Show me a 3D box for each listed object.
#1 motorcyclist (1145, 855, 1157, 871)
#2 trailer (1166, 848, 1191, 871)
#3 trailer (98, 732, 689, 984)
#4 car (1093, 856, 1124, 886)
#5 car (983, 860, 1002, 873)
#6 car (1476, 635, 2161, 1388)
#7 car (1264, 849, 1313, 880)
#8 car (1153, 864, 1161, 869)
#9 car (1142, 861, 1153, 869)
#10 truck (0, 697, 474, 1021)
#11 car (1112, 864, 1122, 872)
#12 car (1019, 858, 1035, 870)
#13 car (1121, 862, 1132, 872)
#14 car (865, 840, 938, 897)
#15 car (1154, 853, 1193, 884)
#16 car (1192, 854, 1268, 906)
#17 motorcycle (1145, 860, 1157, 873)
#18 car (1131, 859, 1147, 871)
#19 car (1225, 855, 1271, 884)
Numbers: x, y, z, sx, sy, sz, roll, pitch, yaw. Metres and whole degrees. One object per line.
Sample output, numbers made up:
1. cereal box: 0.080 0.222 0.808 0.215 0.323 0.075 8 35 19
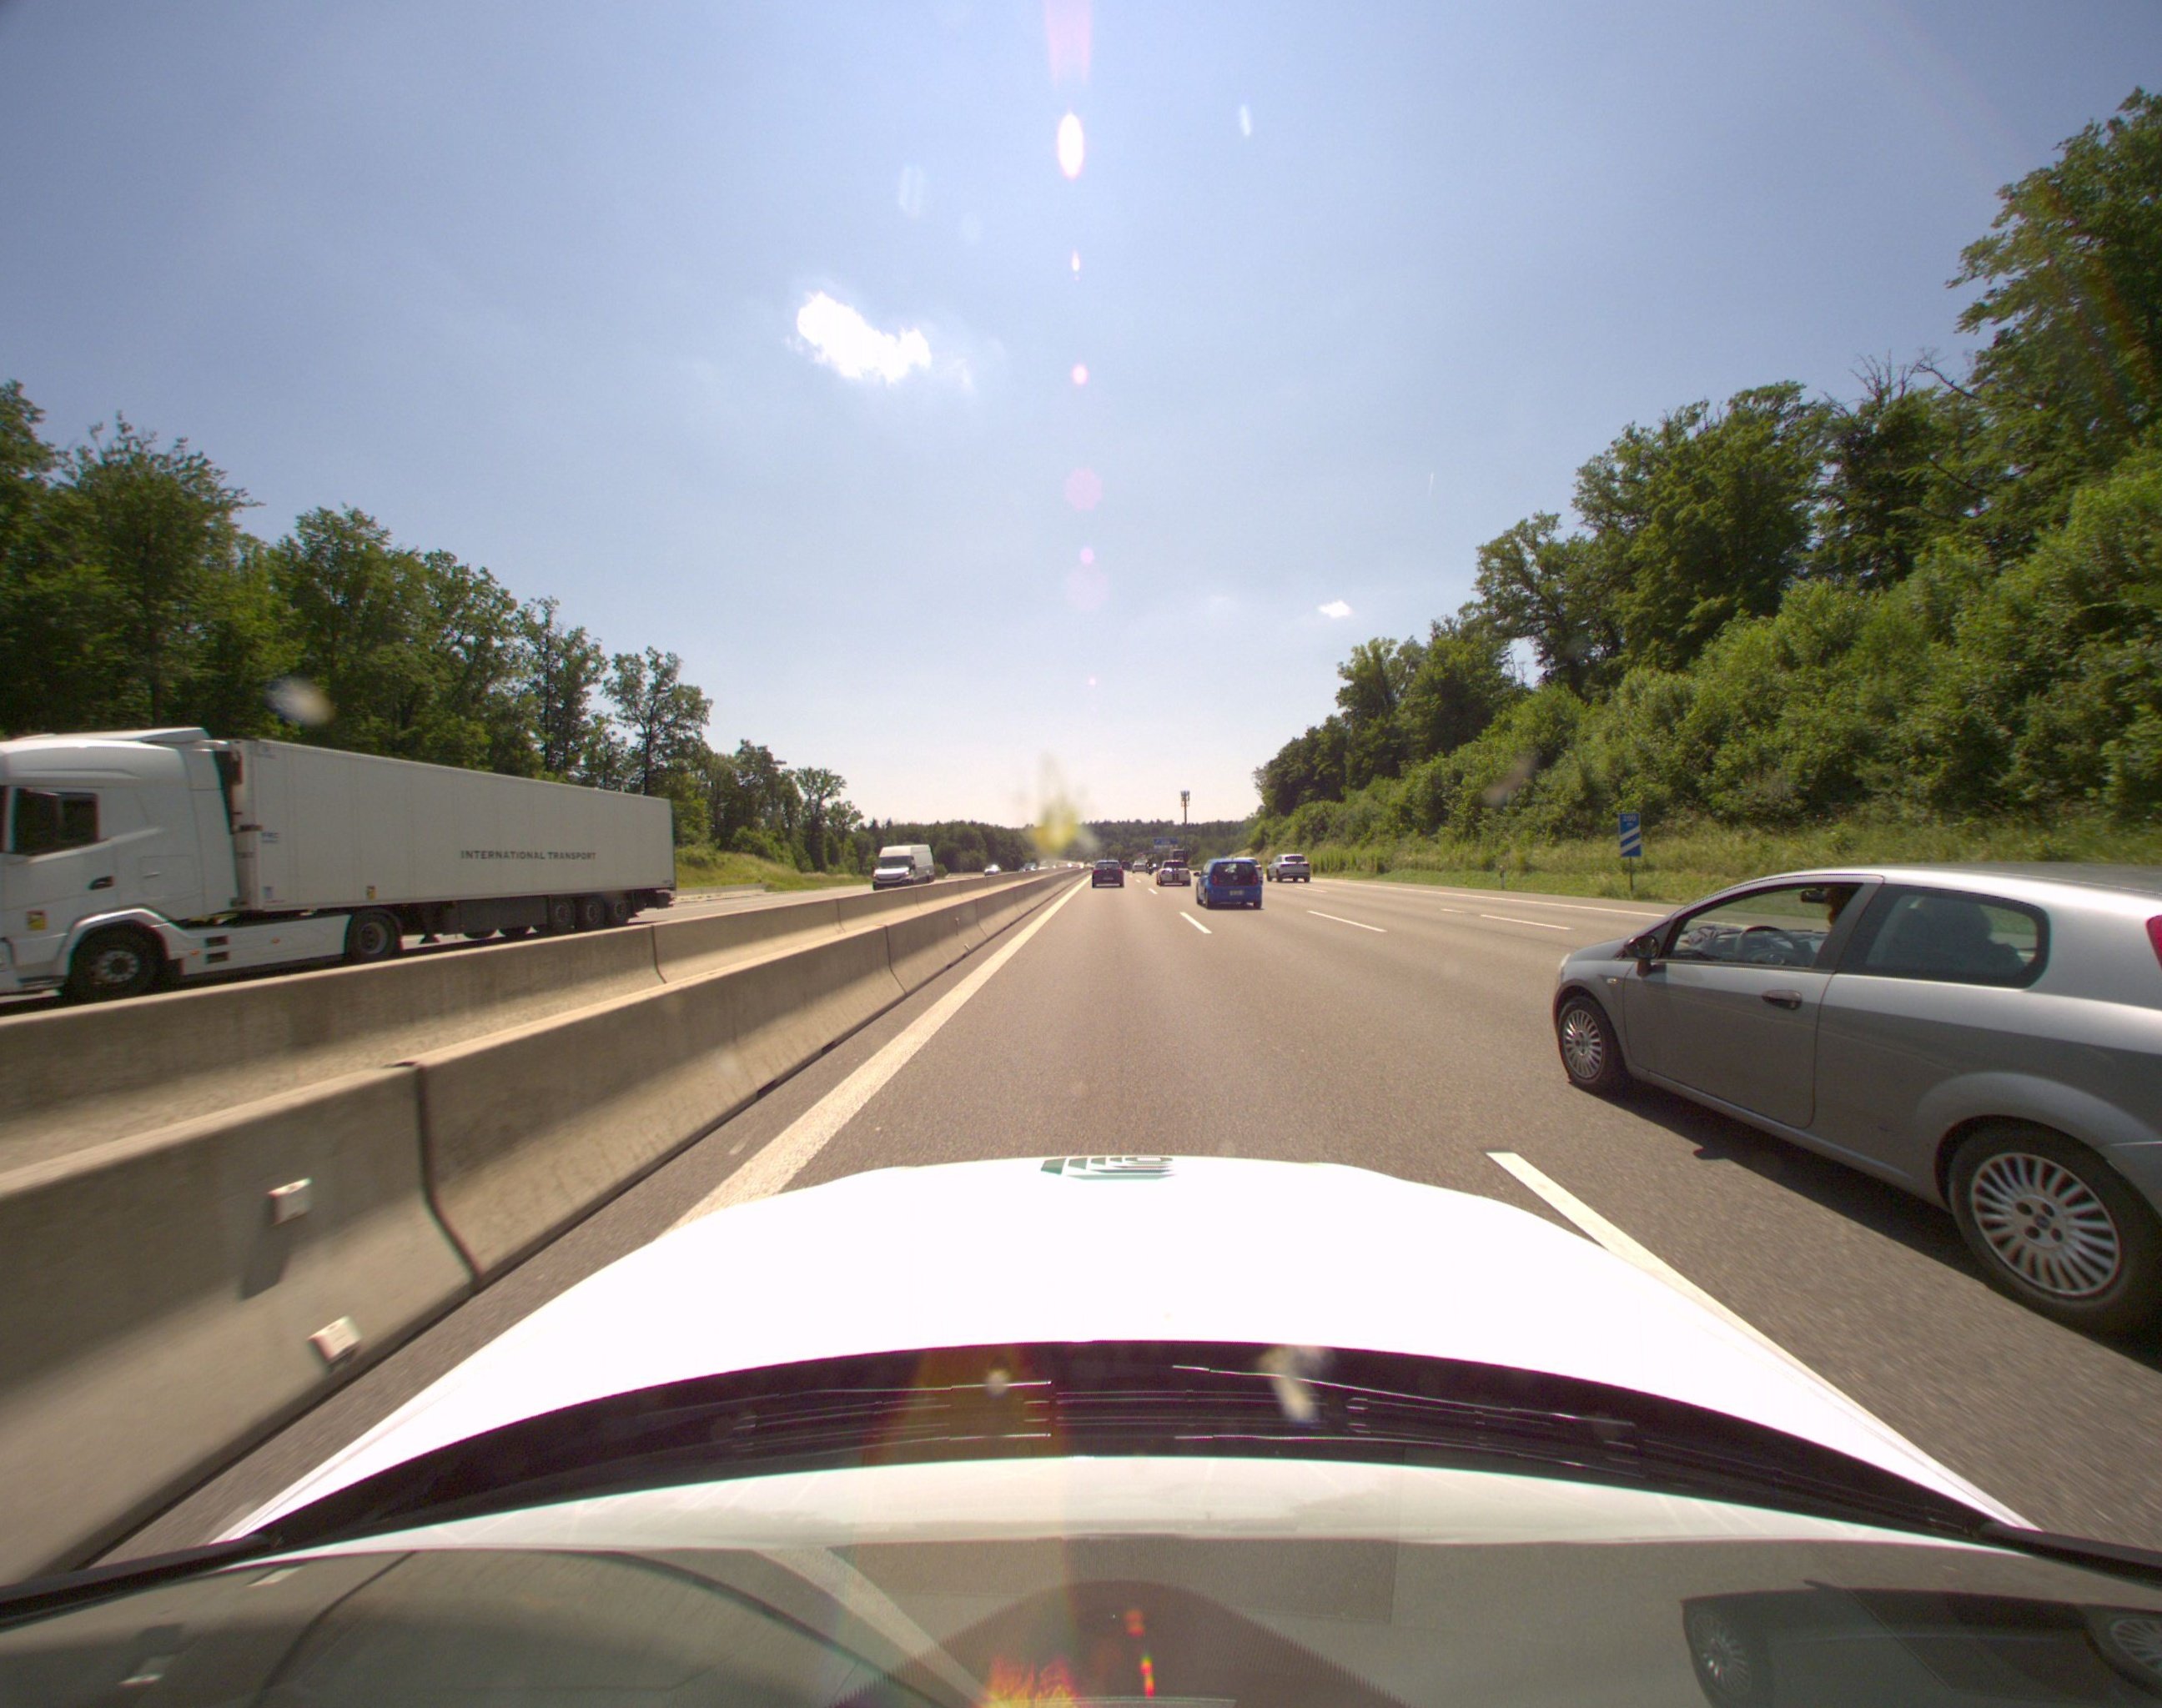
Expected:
1. motorcyclist: 6.705 0.851 78.382 0.959 1.437 1.235 -3 -1 0
2. trailer: 16.766 1.044 141.254 2.847 3.688 13.544 -2 -2 1
3. trailer: -14.896 0.098 20.604 2.915 4.084 13.839 -3 0 1
4. car: 1.498 0.871 43.981 1.618 1.487 3.687 -1 0 2
5. car: -11.518 1.603 106.518 1.737 1.562 4.425 -4 -1 3
6. car: 3.980 0.418 3.917 1.954 2.053 4.786 -1 0 2
7. car: 12.412 0.620 49.081 1.794 1.731 5.241 0 0 2
8. car: 18.935 3.064 202.923 1.603 1.212 3.459 -2 -1 0
9. car: 12.005 1.976 146.525 1.670 1.431 3.684 -2 0 0
10. truck: -14.898 0.133 13.893 2.884 4.069 7.791 -3 0 1
11. car: 8.103 3.111 183.891 1.989 1.684 4.419 0 0 -2
12. car: -7.589 1.408 115.342 1.794 1.548 4.731 0 0 2
13. car: 8.932 2.548 160.649 2.090 1.851 4.081 -2 0 1
14. car: -9.902 0.804 45.718 2.078 2.800 7.604 -4 -1 1
15. car: 5.073 0.809 44.989 1.834 1.552 4.002 2 -1 2
16. car: 4.480 0.767 25.031 1.730 1.411 4.002 -1 -1 2
17. motorcycle: 6.726 1.195 78.358 0.974 1.129 2.271 -2 -1 1
18. car: 6.653 1.226 93.640 1.776 1.265 3.461 -2 0 2
19. car: 9.142 0.817 44.927 1.660 1.433 4.376 -2 0 1
